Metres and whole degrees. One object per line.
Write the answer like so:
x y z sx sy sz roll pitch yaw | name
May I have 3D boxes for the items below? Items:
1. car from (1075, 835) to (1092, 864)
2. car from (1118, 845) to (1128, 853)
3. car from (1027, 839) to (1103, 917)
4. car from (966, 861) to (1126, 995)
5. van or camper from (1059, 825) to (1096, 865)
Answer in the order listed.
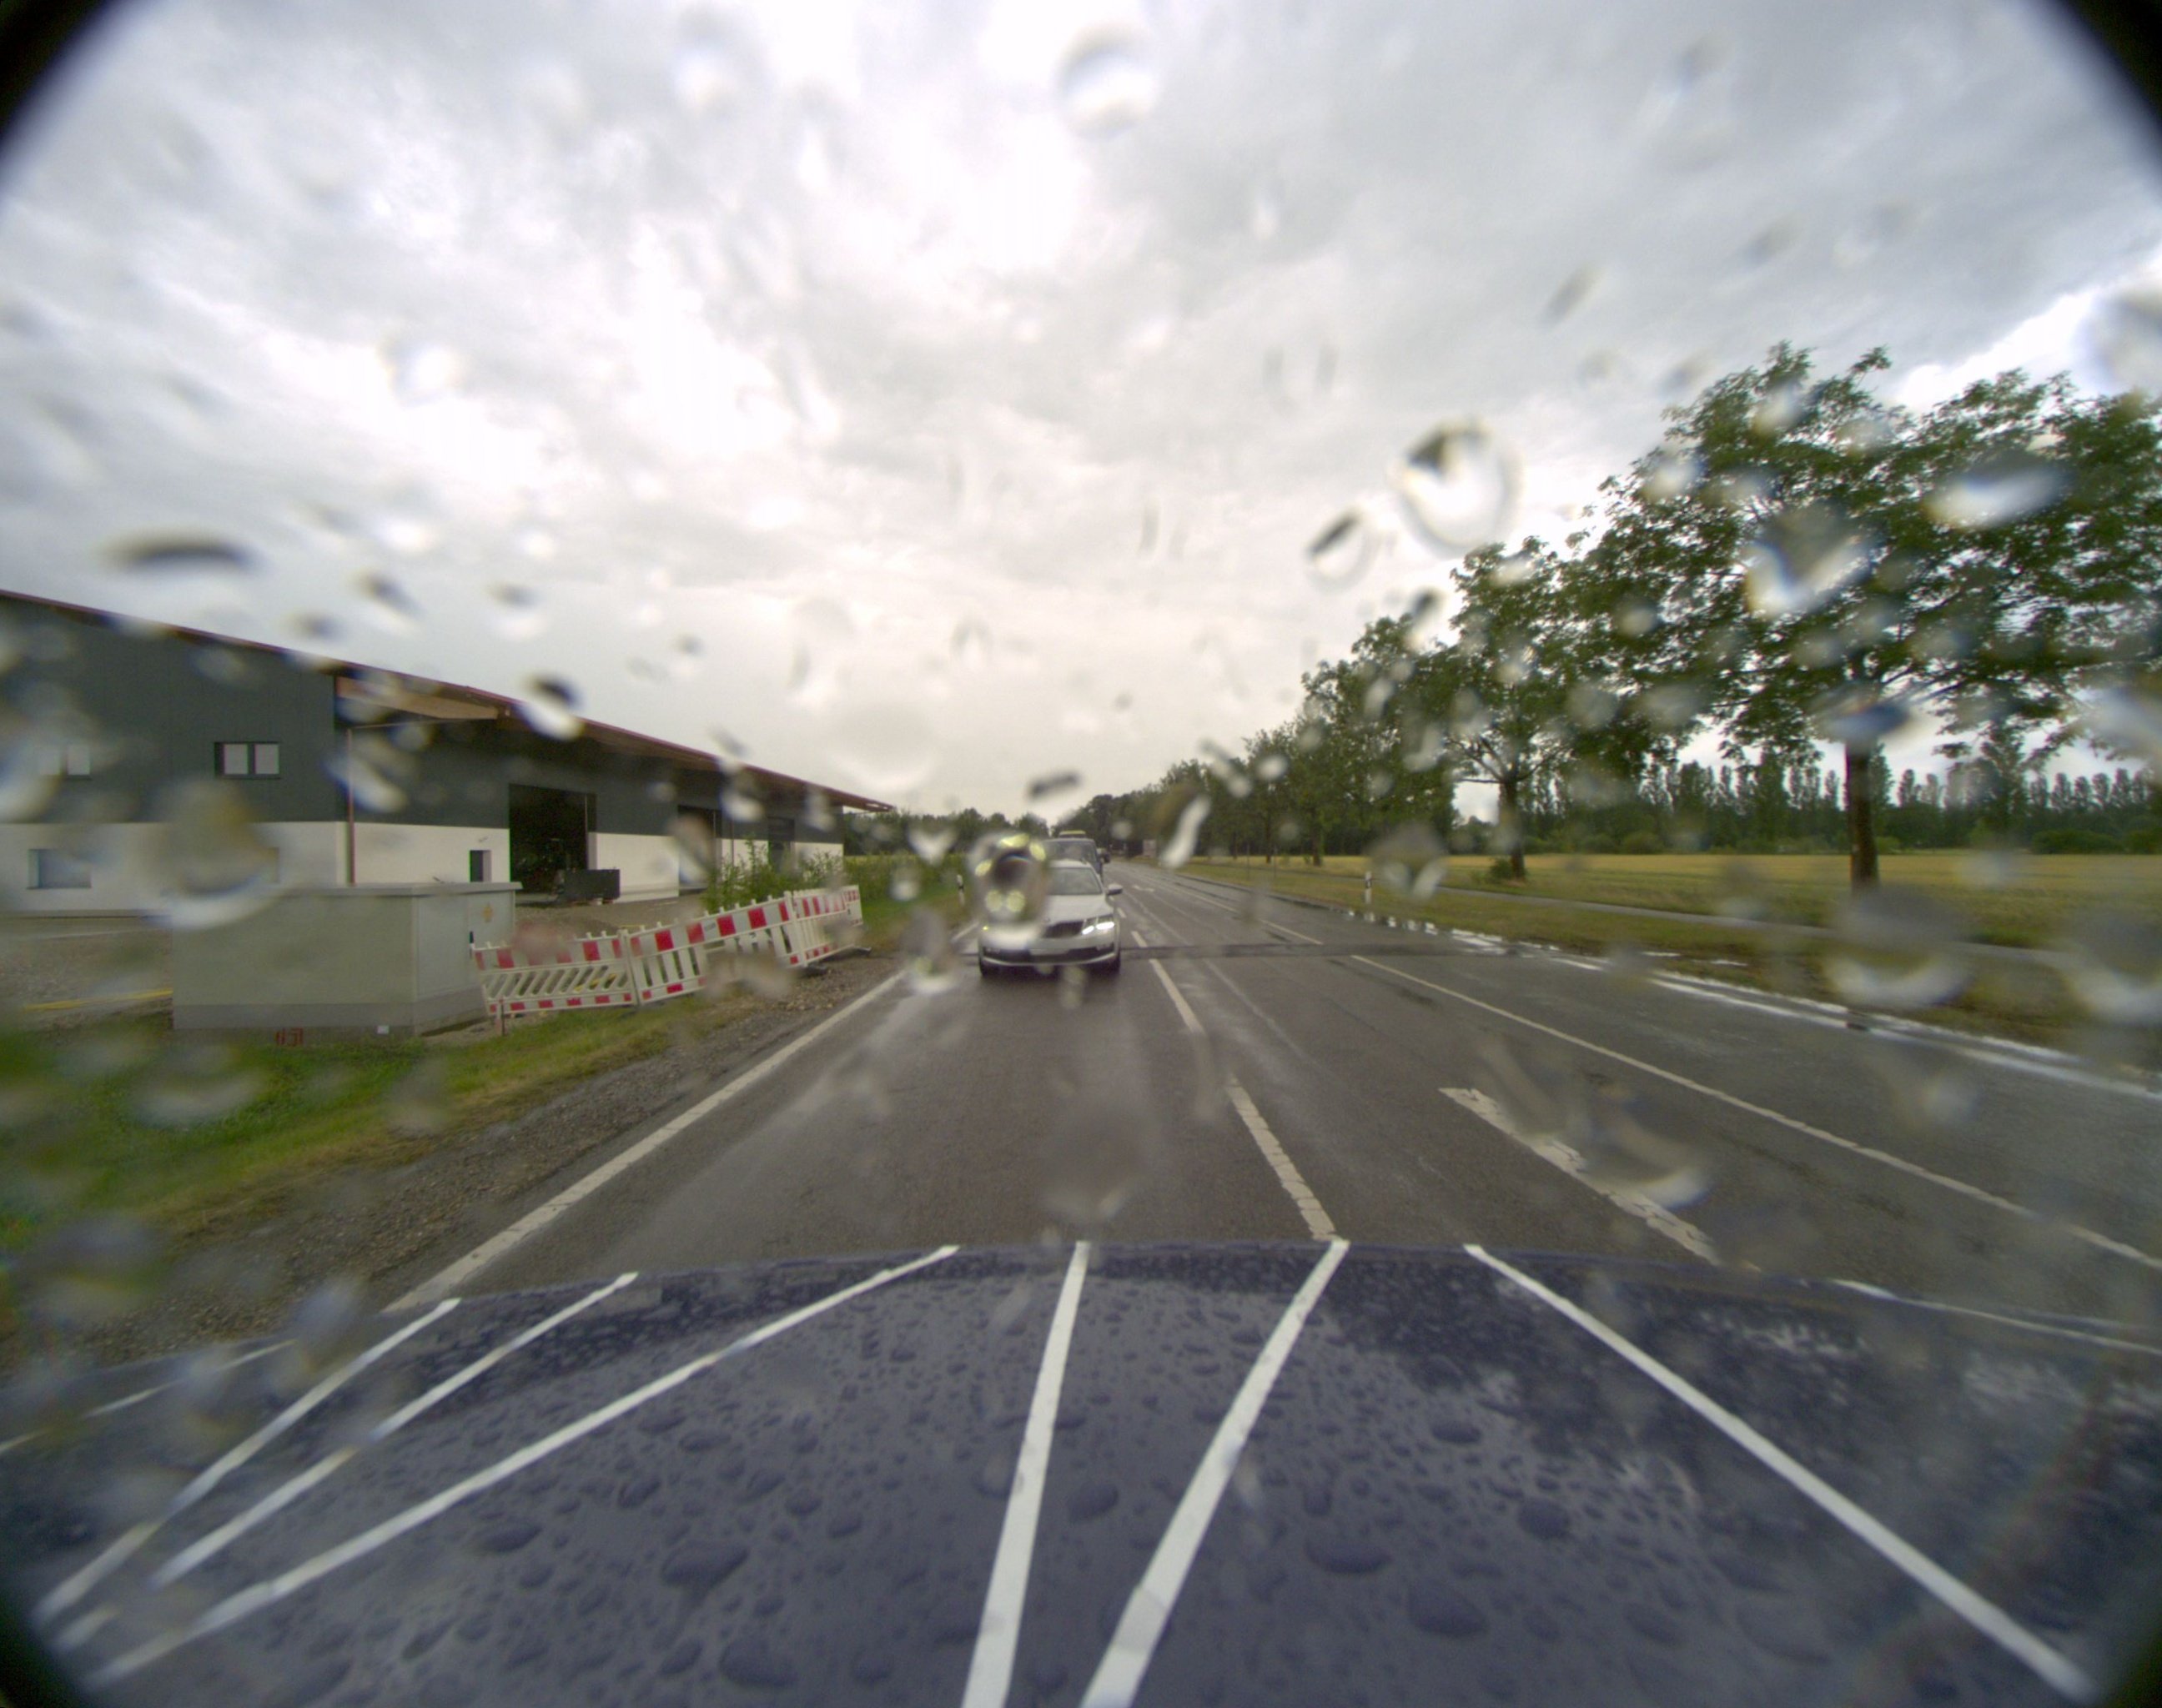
0.264 -0.519 85.584 1.771 3.134 4.027 -1 1 -1 | car
11.076 -1.380 198.794 1.999 2.002 3.997 -1 1 -5 | car
-0.379 0.571 20.886 1.841 1.888 4.575 0 1 0 | car
-0.395 0.868 10.963 1.770 1.365 4.575 -2 1 0 | car
-0.287 -0.860 73.867 3.342 3.624 8.371 0 1 0 | van or camper
